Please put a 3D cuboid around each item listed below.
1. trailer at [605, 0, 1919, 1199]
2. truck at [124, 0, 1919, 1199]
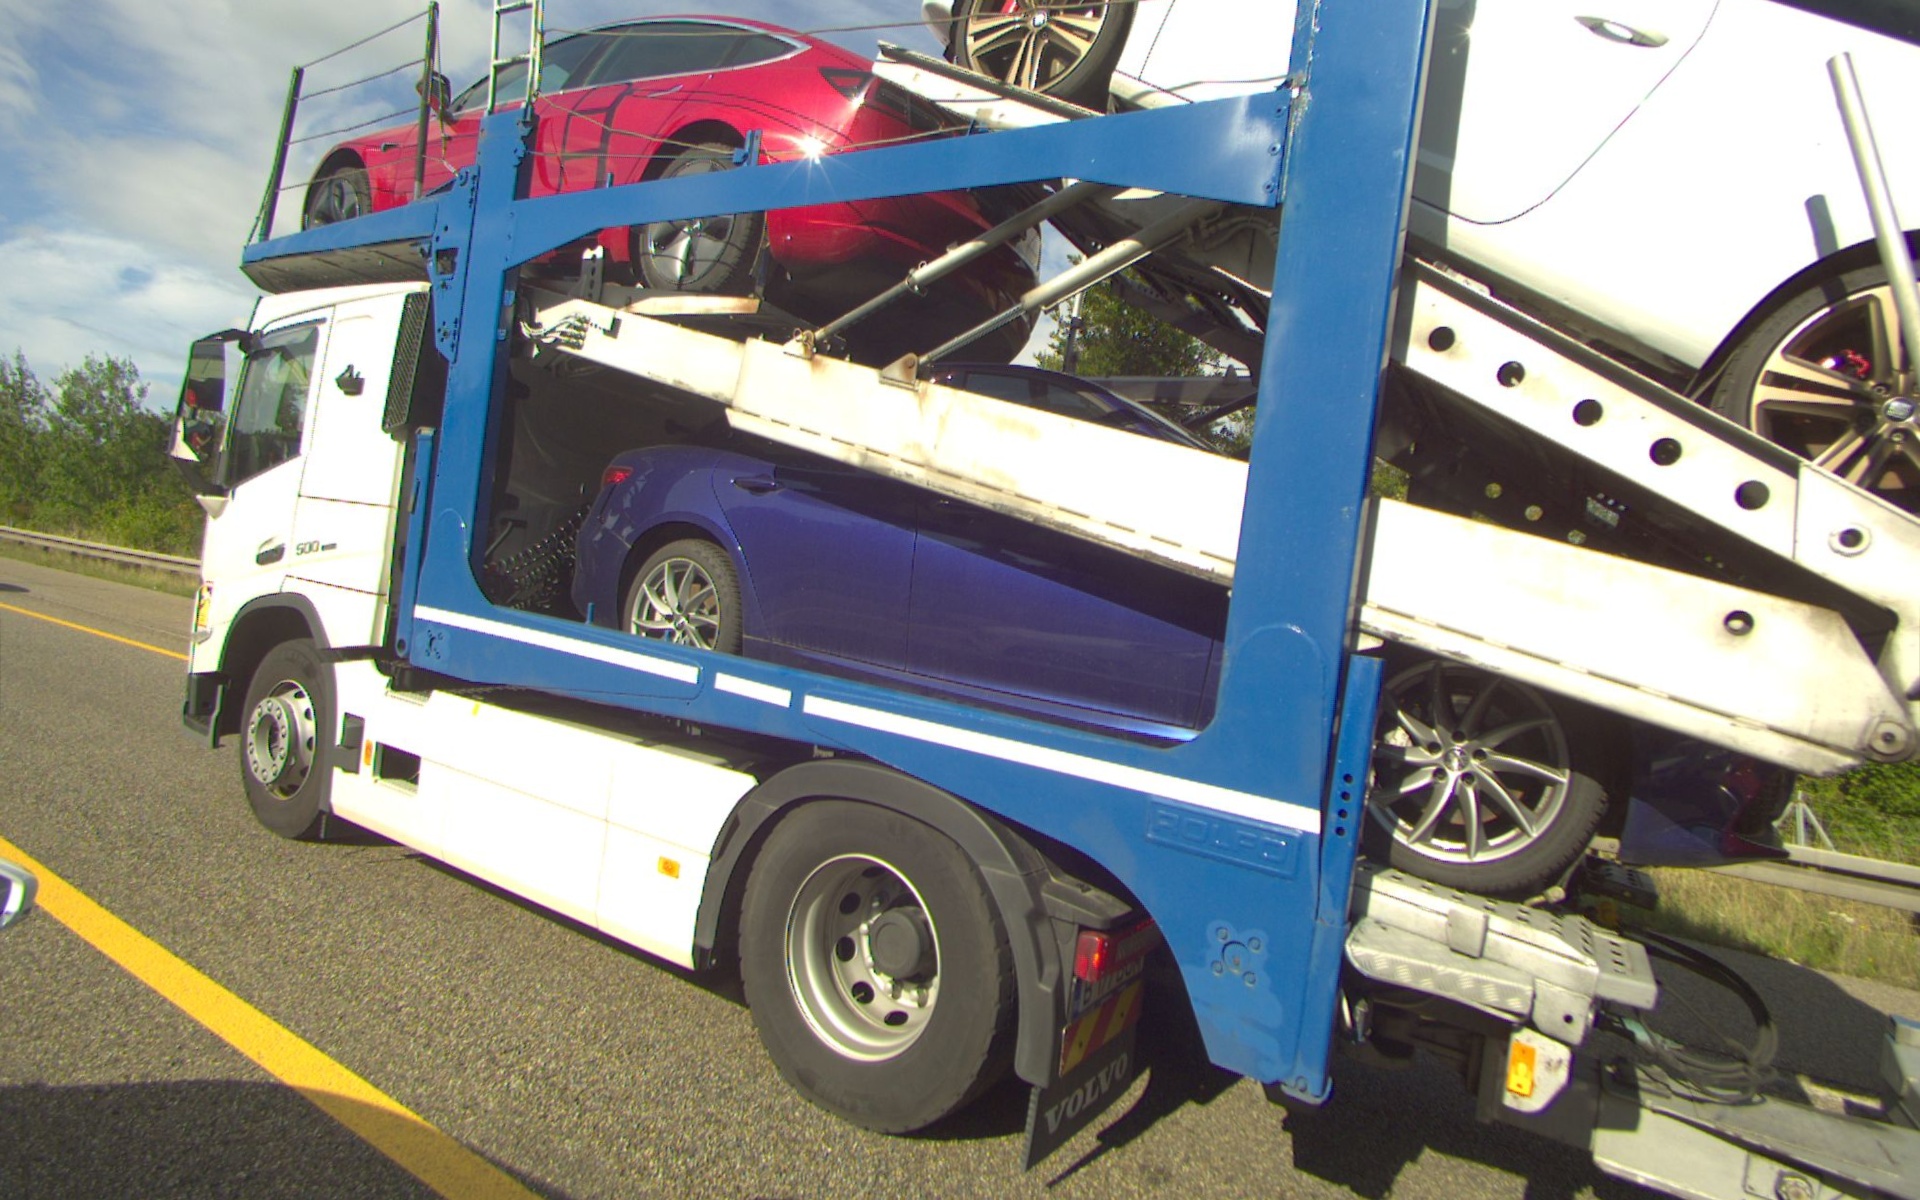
[{"bbox_3d":[6.714,0.178,0.746,15.961,4.245,3.733,6,-2,32],"label":"trailer"},{"bbox_3d":[-0.029,-0.522,5.017,7.820,4.245,3.768,6,-2,32],"label":"truck"}]
